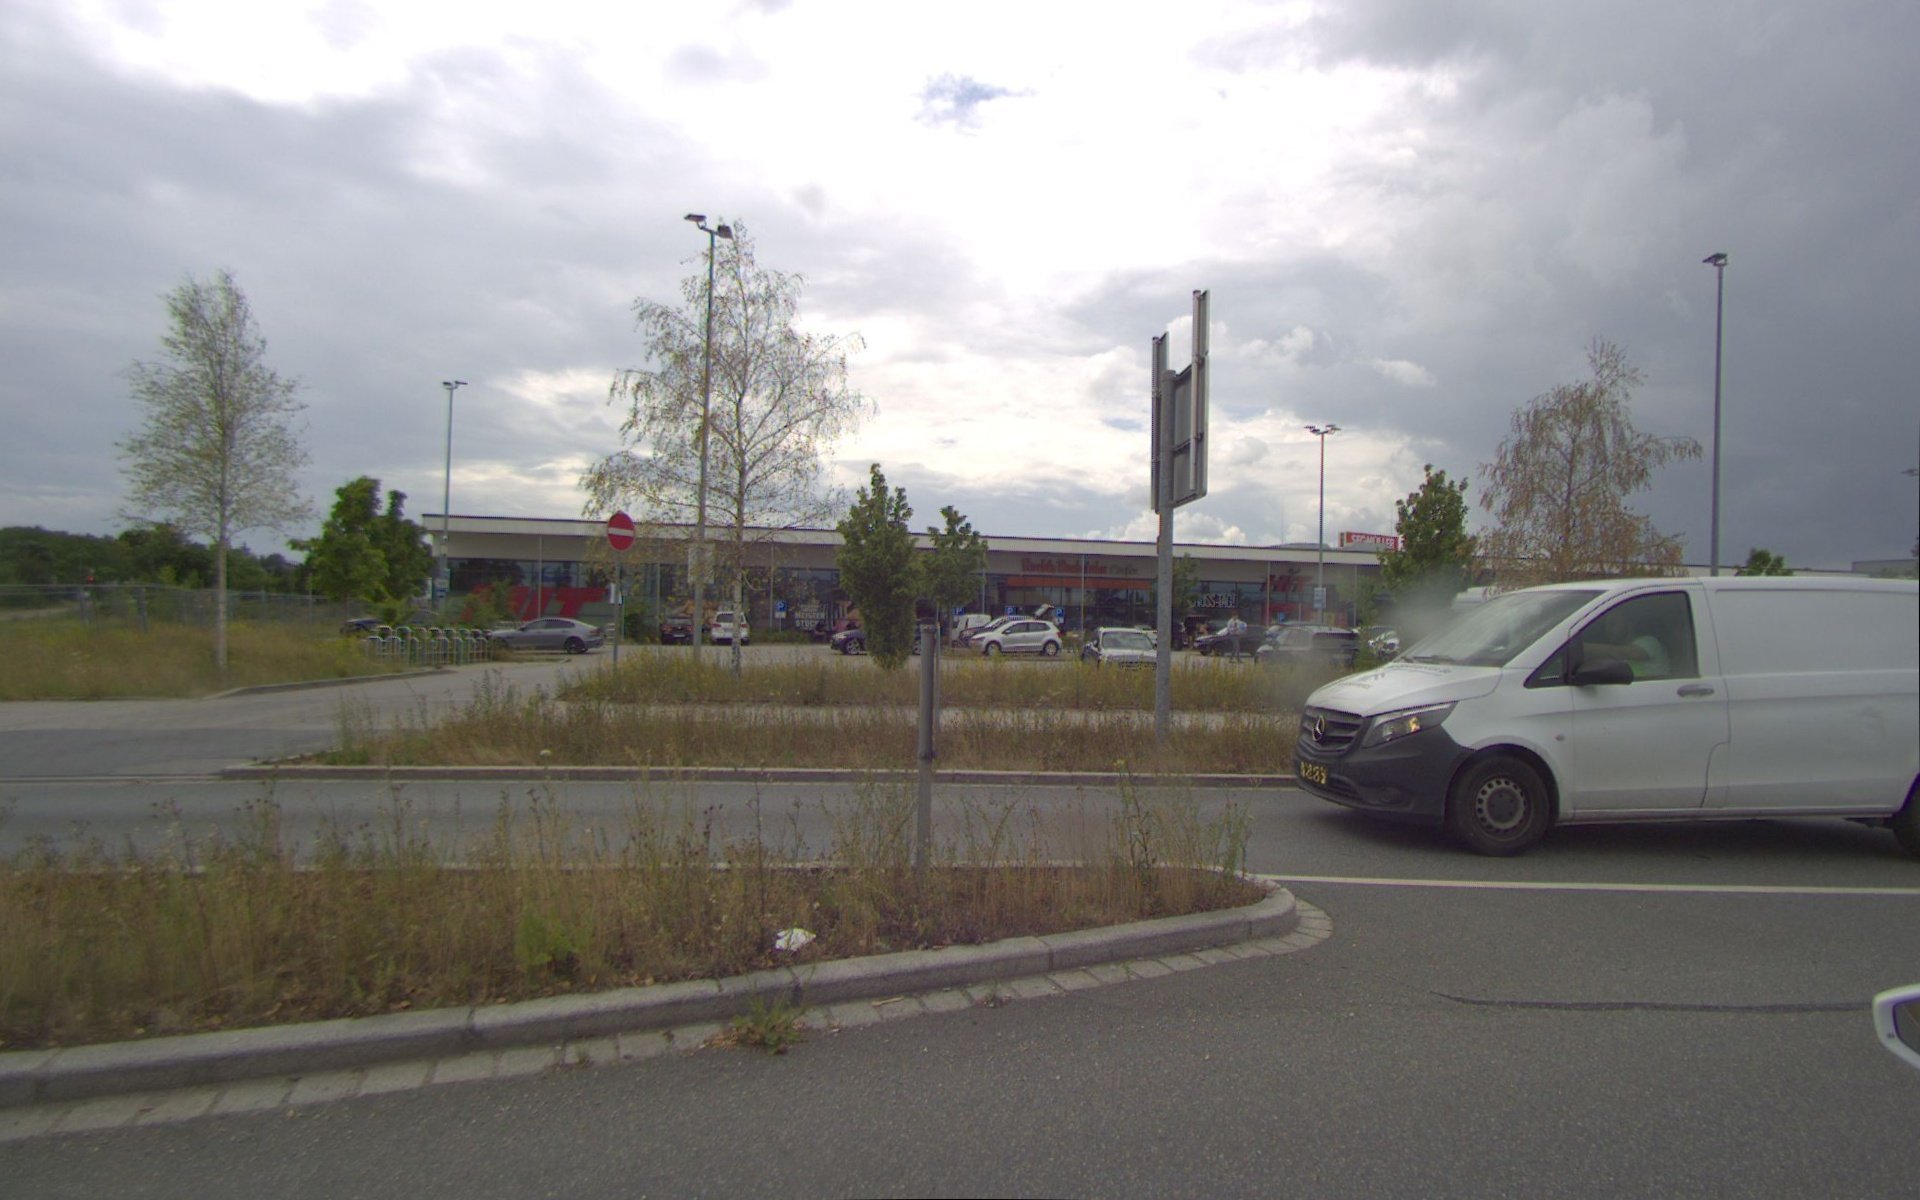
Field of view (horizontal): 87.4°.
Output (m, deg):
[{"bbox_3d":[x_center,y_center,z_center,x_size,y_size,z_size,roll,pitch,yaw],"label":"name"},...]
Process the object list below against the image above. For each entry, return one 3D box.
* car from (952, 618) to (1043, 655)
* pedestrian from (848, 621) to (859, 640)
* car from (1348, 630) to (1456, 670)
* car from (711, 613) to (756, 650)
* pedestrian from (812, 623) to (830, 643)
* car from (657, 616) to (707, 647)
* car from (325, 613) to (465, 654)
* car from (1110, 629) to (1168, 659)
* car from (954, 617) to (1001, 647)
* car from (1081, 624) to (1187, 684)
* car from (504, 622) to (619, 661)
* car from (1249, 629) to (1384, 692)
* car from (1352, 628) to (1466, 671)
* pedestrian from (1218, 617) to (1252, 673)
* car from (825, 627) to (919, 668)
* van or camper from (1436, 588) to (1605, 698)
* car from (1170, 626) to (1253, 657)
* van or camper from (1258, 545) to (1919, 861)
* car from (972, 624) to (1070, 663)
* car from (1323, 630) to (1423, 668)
[{"bbox_3d":[1.618,1.596,44.234,3.692,1.473,1.665,2,-1,-10],"label":"car"},{"bbox_3d":[-6.585,1.885,62.002,0.568,1.139,0.560,2,-1,-14],"label":"pedestrian"},{"bbox_3d":[19.783,2.222,45.088,3.922,1.639,2.000,2,-1,-2],"label":"car"},{"bbox_3d":[-11.635,1.579,51.845,1.796,1.722,4.228,2,0,-7],"label":"car"},{"bbox_3d":[-8.588,2.050,62.061,0.957,1.170,1.130,2,-1,-12],"label":"pedestrian"},{"bbox_3d":[-14.198,1.593,51.450,1.877,1.463,3.995,2,-1,-8],"label":"car"},{"bbox_3d":[-24.849,1.500,44.366,4.940,1.578,1.994,3,-2,-15],"label":"car"},{"bbox_3d":[9.944,2.426,56.091,1.963,1.528,3.995,2,-1,-8],"label":"car"},{"bbox_3d":[0.899,1.720,54.640,1.963,1.528,3.995,2,-1,-8],"label":"car"},{"bbox_3d":[4.567,1.411,26.991,1.956,1.402,4.149,2,-2,-2],"label":"car"},{"bbox_3d":[-15.842,1.660,40.128,3.931,1.369,1.995,3,-2,-13],"label":"car"},{"bbox_3d":[9.374,1.561,26.771,1.956,1.470,4.149,2,-2,-2],"label":"car"},{"bbox_3d":[18.962,2.085,42.521,3.922,1.639,2.000,2,-1,-2],"label":"car"},{"bbox_3d":[10.214,1.669,37.329,0.984,2.040,0.867,2,-1,-2],"label":"pedestrian"},{"bbox_3d":[-3.533,1.882,39.975,3.555,1.473,1.664,2,-1,-11],"label":"car"},{"bbox_3d":[14.280,1.081,25.893,2.244,2.525,4.002,2,-2,3],"label":"van or camper"},{"bbox_3d":[13.725,2.274,54.992,3.927,1.528,1.997,2,-1,-9],"label":"car"},{"bbox_3d":[5.092,0.716,7.502,5.103,1.937,2.000,2,-1,-2],"label":"van or camper"},{"bbox_3d":[2.486,1.784,41.365,3.692,1.473,1.665,2,-1,-10],"label":"car"},{"bbox_3d":[19.684,2.312,47.968,3.922,1.639,2.000,2,-1,-2],"label":"car"}]
